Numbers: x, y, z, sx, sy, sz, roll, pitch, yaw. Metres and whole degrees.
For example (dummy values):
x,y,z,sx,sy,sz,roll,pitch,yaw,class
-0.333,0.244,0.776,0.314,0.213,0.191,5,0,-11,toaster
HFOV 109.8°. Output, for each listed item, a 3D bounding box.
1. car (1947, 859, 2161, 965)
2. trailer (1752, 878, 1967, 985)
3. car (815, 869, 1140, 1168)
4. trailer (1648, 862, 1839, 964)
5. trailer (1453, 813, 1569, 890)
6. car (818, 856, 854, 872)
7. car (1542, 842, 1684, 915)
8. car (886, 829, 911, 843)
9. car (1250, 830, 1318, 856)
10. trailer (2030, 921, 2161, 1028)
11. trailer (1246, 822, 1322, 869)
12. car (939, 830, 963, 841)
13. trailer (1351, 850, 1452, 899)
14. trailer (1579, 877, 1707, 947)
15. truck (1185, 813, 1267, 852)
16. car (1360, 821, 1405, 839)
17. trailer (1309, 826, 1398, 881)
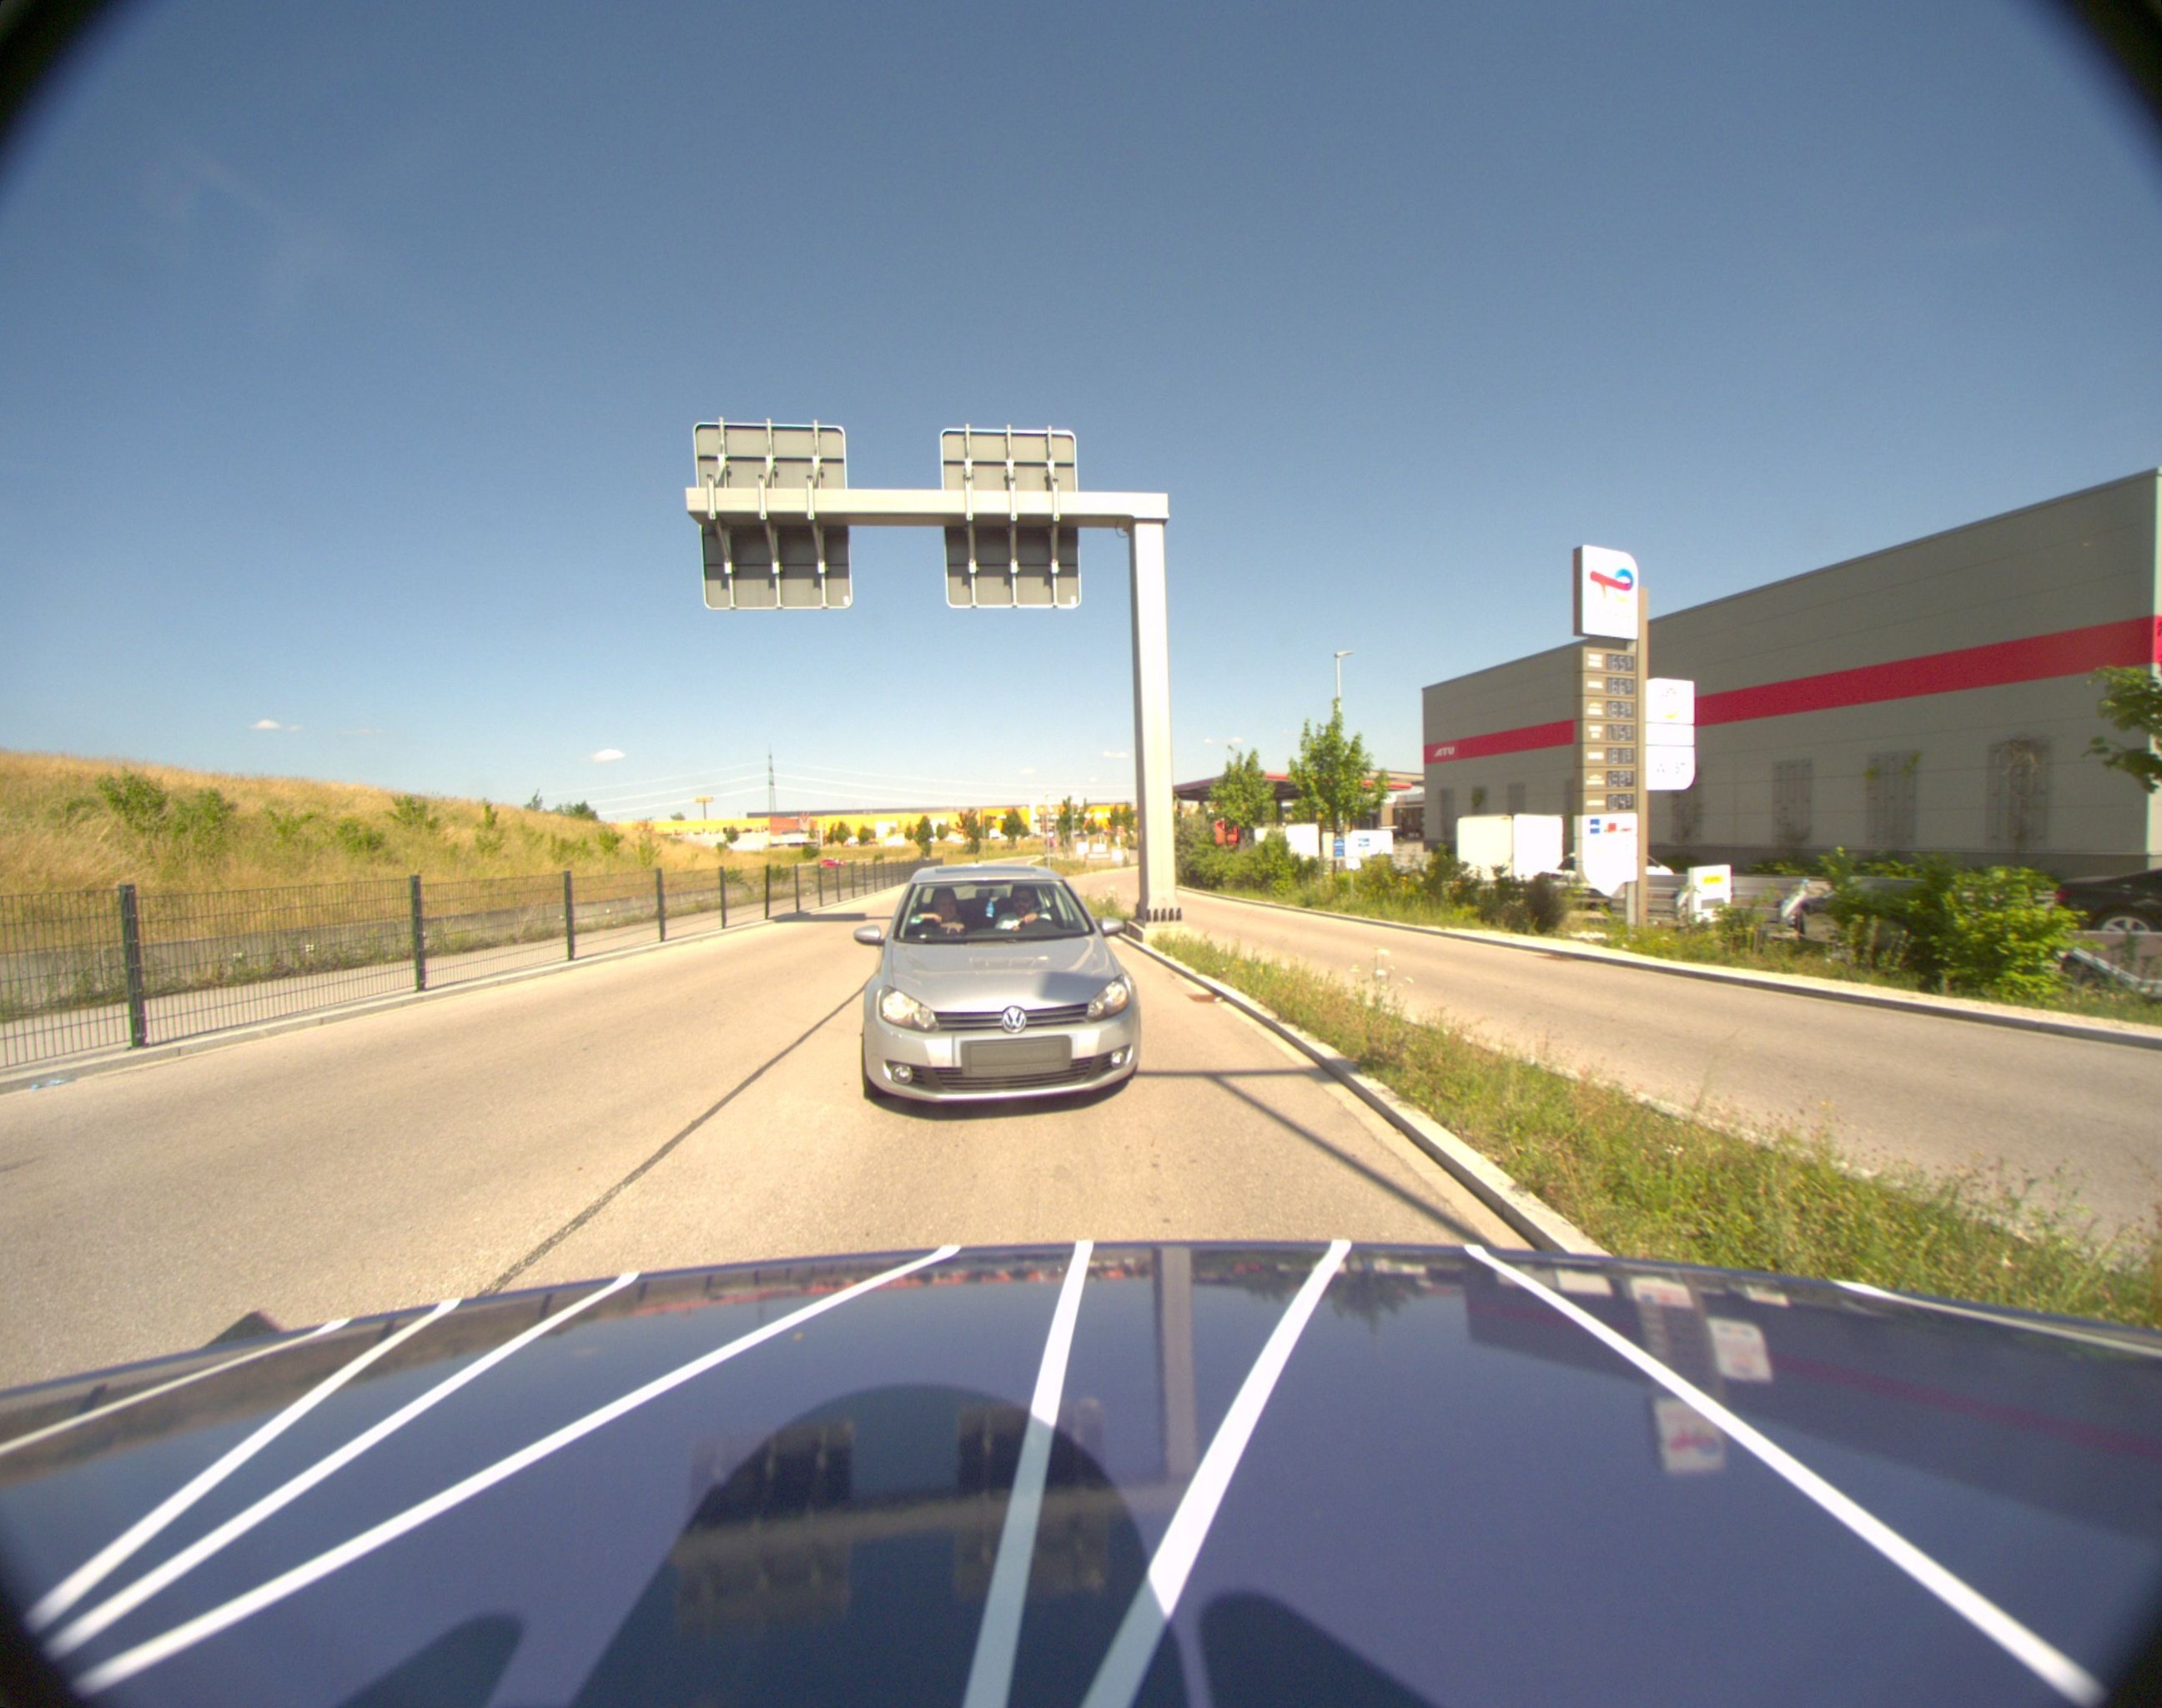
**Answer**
x,y,z,sx,sy,sz,roll,pitch,yaw,class
17.076,0.891,11.841,1.803,1.475,4.494,-3,1,-6,car
12.356,1.147,12.063,2.915,1.314,1.387,-3,2,-22,trailer
-0.797,0.916,6.104,1.747,1.459,3.957,0,1,-8,car
12.045,0.974,13.799,3.195,1.475,1.545,-3,2,-27,trailer
12.422,-0.109,21.921,3.245,2.002,1.743,-4,2,-38,trailer
-34.402,1.432,106.766,4.637,2.002,1.997,-3,2,-12,car
13.628,0.561,19.406,4.006,1.527,1.714,-4,2,-36,car
-35.986,-3.628,149.799,4.637,2.534,1.998,-3,2,-11,car
15.331,-0.829,57.453,4.522,1.748,1.794,-3,2,-11,car
13.452,1.479,9.567,2.842,0.877,1.861,-4,2,-39,trailer
9.418,-0.408,35.196,1.994,2.002,3.212,-1,2,44,trailer
-25.845,-3.738,151.322,4.637,2.002,1.998,-3,2,-11,car
11.635,0.691,27.497,3.605,1.502,1.596,-4,1,-34,trailer
11.405,1.113,15.375,2.780,1.080,1.317,-4,2,-37,trailer
13.491,-2.027,70.711,6.910,3.299,2.637,-3,2,-17,truck
29.410,-2.298,74.291,3.683,1.566,1.695,-3,2,0,car
10.750,-0.033,30.000,2.741,2.002,1.995,-4,2,-34,trailer
